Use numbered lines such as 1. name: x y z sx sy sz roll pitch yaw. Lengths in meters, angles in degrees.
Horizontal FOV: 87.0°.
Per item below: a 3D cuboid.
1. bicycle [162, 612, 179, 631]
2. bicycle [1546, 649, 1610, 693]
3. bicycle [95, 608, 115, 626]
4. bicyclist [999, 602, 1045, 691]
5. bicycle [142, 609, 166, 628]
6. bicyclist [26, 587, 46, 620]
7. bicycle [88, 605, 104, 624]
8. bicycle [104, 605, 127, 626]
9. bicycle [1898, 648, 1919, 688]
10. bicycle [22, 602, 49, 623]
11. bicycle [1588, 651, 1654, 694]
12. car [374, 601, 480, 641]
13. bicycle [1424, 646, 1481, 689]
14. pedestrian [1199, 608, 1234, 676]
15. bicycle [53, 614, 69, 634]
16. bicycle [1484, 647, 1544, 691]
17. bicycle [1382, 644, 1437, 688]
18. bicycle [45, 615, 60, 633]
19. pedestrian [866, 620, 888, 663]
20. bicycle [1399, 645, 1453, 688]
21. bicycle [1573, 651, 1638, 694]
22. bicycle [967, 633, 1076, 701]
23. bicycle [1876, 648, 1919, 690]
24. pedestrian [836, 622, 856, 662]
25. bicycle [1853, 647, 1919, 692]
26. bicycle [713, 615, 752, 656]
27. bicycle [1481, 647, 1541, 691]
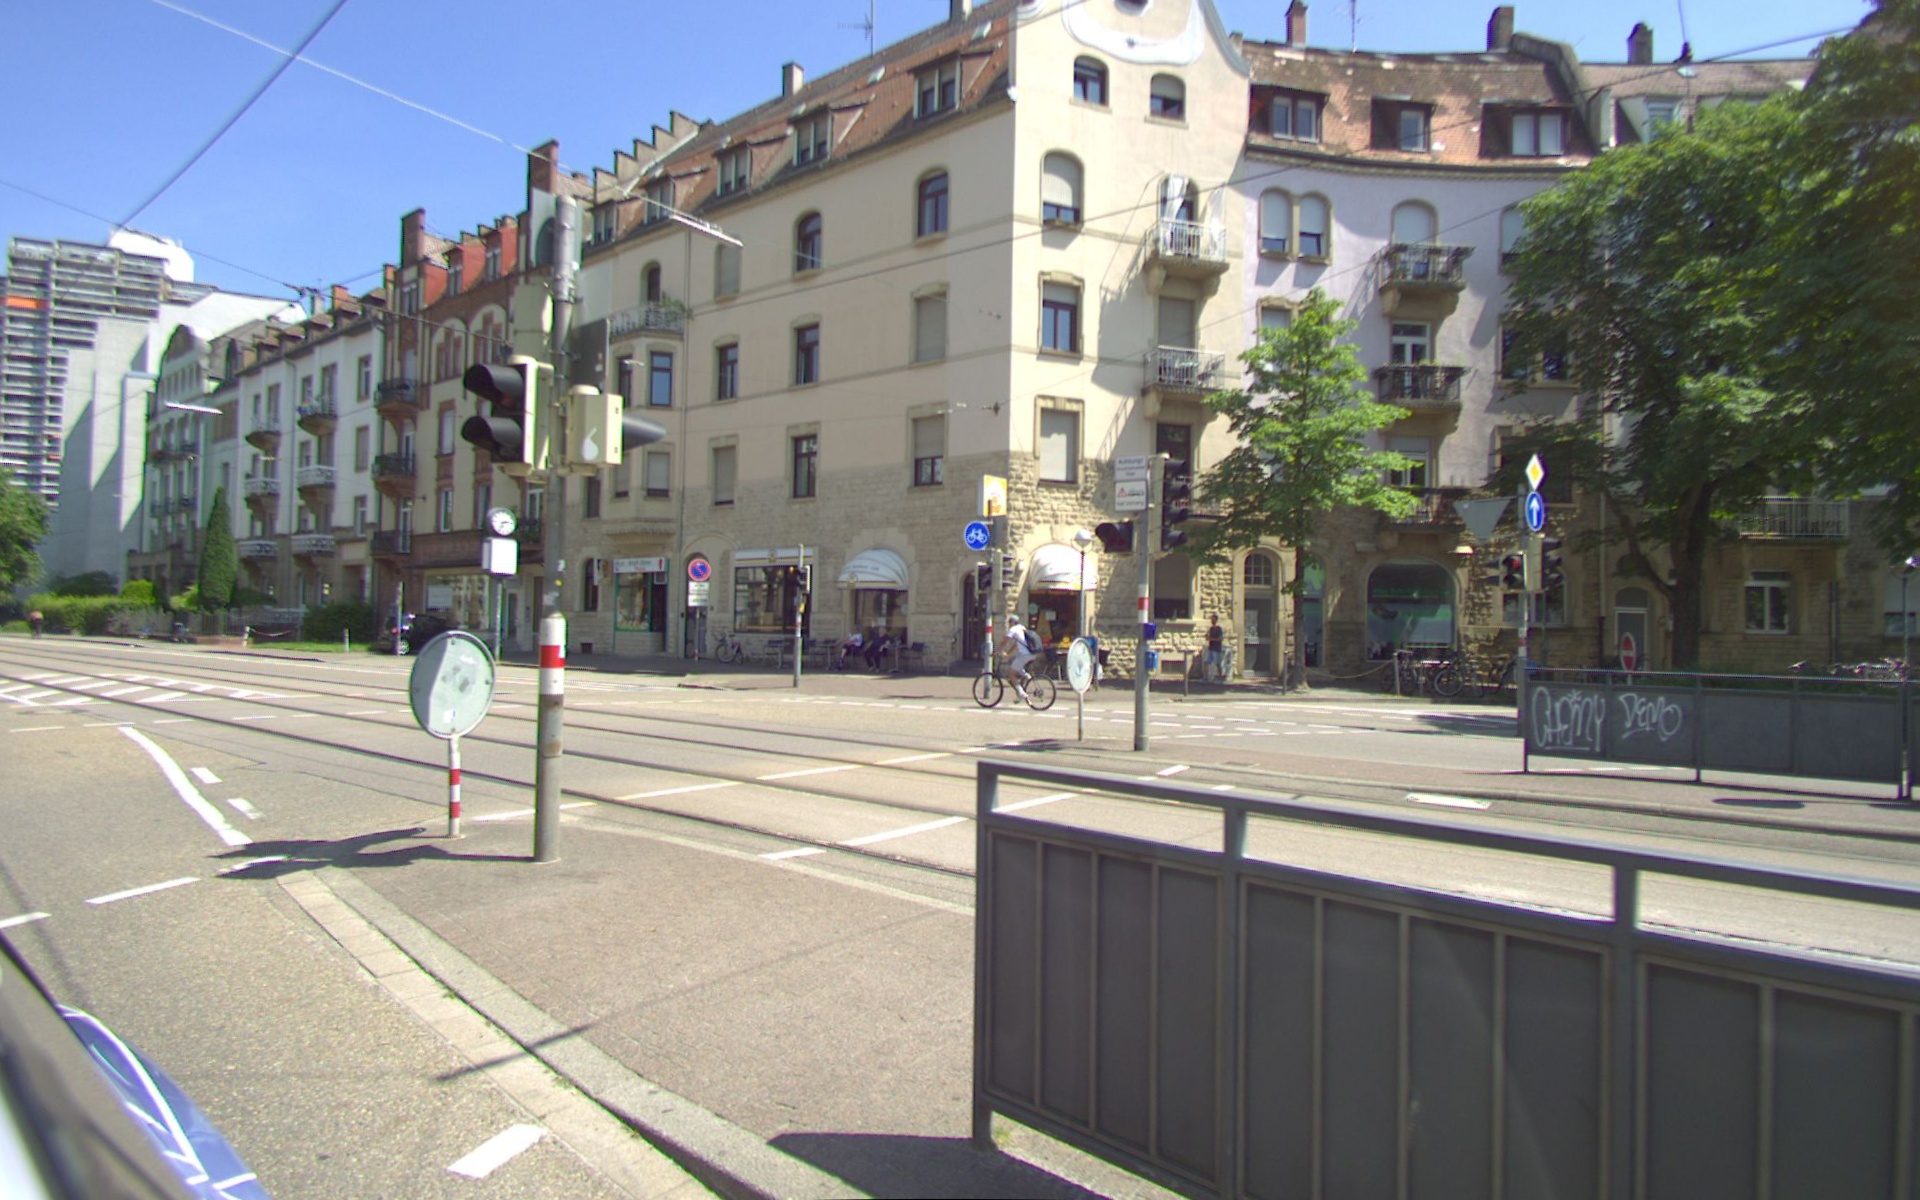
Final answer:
1. bicycle: -38.064 1.043 48.782 1.612 0.924 0.250 0 -2 37
2. bicycle: 15.221 1.727 24.963 0.285 0.981 1.676 1 -1 -11
3. bicycle: -47.474 0.922 56.190 2.043 0.978 0.395 0 -2 37
4. bicyclist: 1.130 0.834 18.448 0.584 1.586 0.602 0 -1 37
5. bicycle: -40.632 0.921 51.006 1.951 0.955 0.457 0 -2 37
6. bicyclist: -48.479 0.187 53.083 0.578 1.676 0.604 0 -3 37
7. bicycle: -49.597 0.840 58.077 1.896 1.054 0.286 0 -1 37
8. bicycle: -45.810 0.828 54.895 2.043 1.105 0.487 0 -2 37
9. bicycle: 23.571 1.667 24.386 0.403 0.963 1.493 1 -1 -7
10. bicycle: -48.474 0.669 53.053 2.183 1.082 0.638 0 -3 37
11. bicycle: 16.539 1.793 25.359 0.285 0.981 1.676 1 -1 -11
12. car: -20.785 0.818 39.548 1.529 1.483 3.319 0 -1 41
13. bicycle: 12.113 1.644 24.931 0.285 0.981 1.676 1 -1 -11
14. pedestrian: 6.717 1.098 26.512 0.726 1.744 0.539 0 -1 35
15. bicycle: -55.185 1.472 62.095 1.930 1.173 0.336 0 -1 37
16. bicycle: 13.690 1.683 25.033 0.285 0.981 1.676 1 -1 -11
17. bicycle: 10.909 1.583 24.611 0.285 0.981 1.676 1 -1 -11
18. bicycle: -56.895 1.496 63.439 1.725 1.076 0.336 0 -1 37
19. pedestrian: -2.275 1.139 27.774 0.404 1.157 0.402 0 -1 34
20. bicycle: 11.618 1.633 25.271 0.285 0.981 1.676 1 -1 -11
21. bicycle: 16.070 1.794 25.219 0.285 0.981 1.676 1 -1 -11
22. bicycle: 1.108 1.195 18.496 1.974 1.166 0.622 0 -2 37
23. bicycle: 22.931 1.660 24.258 0.402 0.963 1.493 1 -1 -11
24. pedestrian: -3.207 1.173 28.445 0.404 1.097 0.351 0 -1 34
25. bicycle: 22.282 1.645 24.101 0.285 0.981 1.676 1 -1 -11
26. bicycle: -7.092 1.085 31.478 0.447 1.234 2.085 2 -1 -33
27. bicycle: 13.419 1.669 24.694 0.285 0.981 1.676 1 -1 -11
